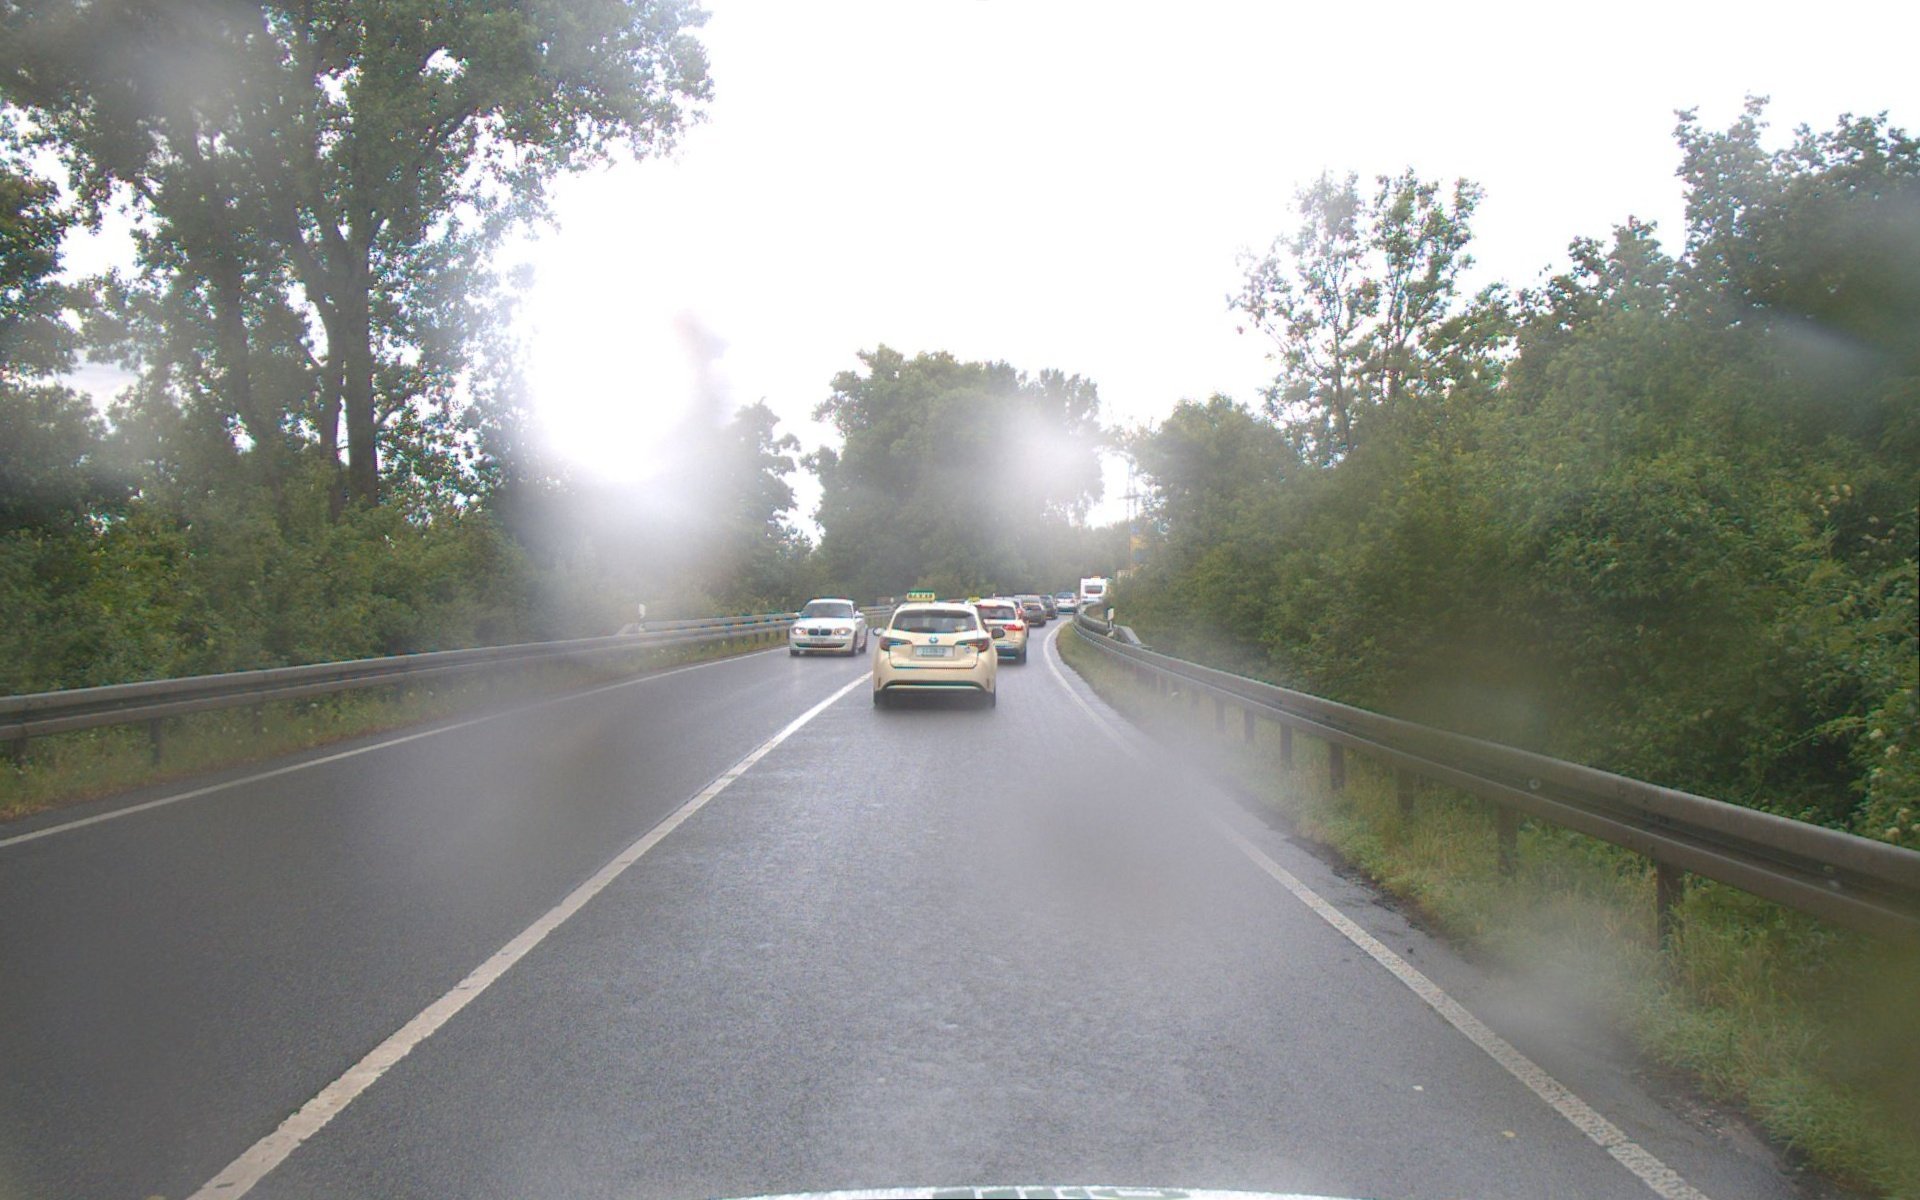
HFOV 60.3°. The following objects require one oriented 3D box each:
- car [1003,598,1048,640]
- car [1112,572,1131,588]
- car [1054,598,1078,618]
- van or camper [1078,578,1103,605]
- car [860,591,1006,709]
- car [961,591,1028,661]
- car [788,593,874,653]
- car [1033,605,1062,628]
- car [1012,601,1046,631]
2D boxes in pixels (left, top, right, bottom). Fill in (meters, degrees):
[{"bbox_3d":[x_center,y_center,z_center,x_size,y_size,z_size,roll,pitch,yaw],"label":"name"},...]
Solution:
[{"bbox_3d":[2.430,0.679,61.404,1.630,1.489,3.478,1,0,2],"label":"car"},{"bbox_3d":[16.507,-2.042,169.105,1.611,1.613,3.686,1,0,10],"label":"car"},{"bbox_3d":[7.436,0.567,115.855,1.451,1.332,3.479,1,0,7],"label":"car"},{"bbox_3d":[11.365,-0.720,143.982,1.951,2.293,4.003,1,0,8],"label":"van or camper"},{"bbox_3d":[-0.306,0.673,24.376,1.866,1.564,4.163,1,0,3],"label":"car"},{"bbox_3d":[0.863,0.590,39.959,1.545,1.600,3.682,1,0,2],"label":"car"},{"bbox_3d":[-3.336,0.572,43.312,1.777,1.479,4.048,1,0,2],"label":"car"},{"bbox_3d":[5.265,0.959,99.150,1.451,1.332,3.479,1,0,7],"label":"car"},{"bbox_3d":[3.425,0.811,82.357,1.626,1.434,3.905,1,-1,2],"label":"car"}]
